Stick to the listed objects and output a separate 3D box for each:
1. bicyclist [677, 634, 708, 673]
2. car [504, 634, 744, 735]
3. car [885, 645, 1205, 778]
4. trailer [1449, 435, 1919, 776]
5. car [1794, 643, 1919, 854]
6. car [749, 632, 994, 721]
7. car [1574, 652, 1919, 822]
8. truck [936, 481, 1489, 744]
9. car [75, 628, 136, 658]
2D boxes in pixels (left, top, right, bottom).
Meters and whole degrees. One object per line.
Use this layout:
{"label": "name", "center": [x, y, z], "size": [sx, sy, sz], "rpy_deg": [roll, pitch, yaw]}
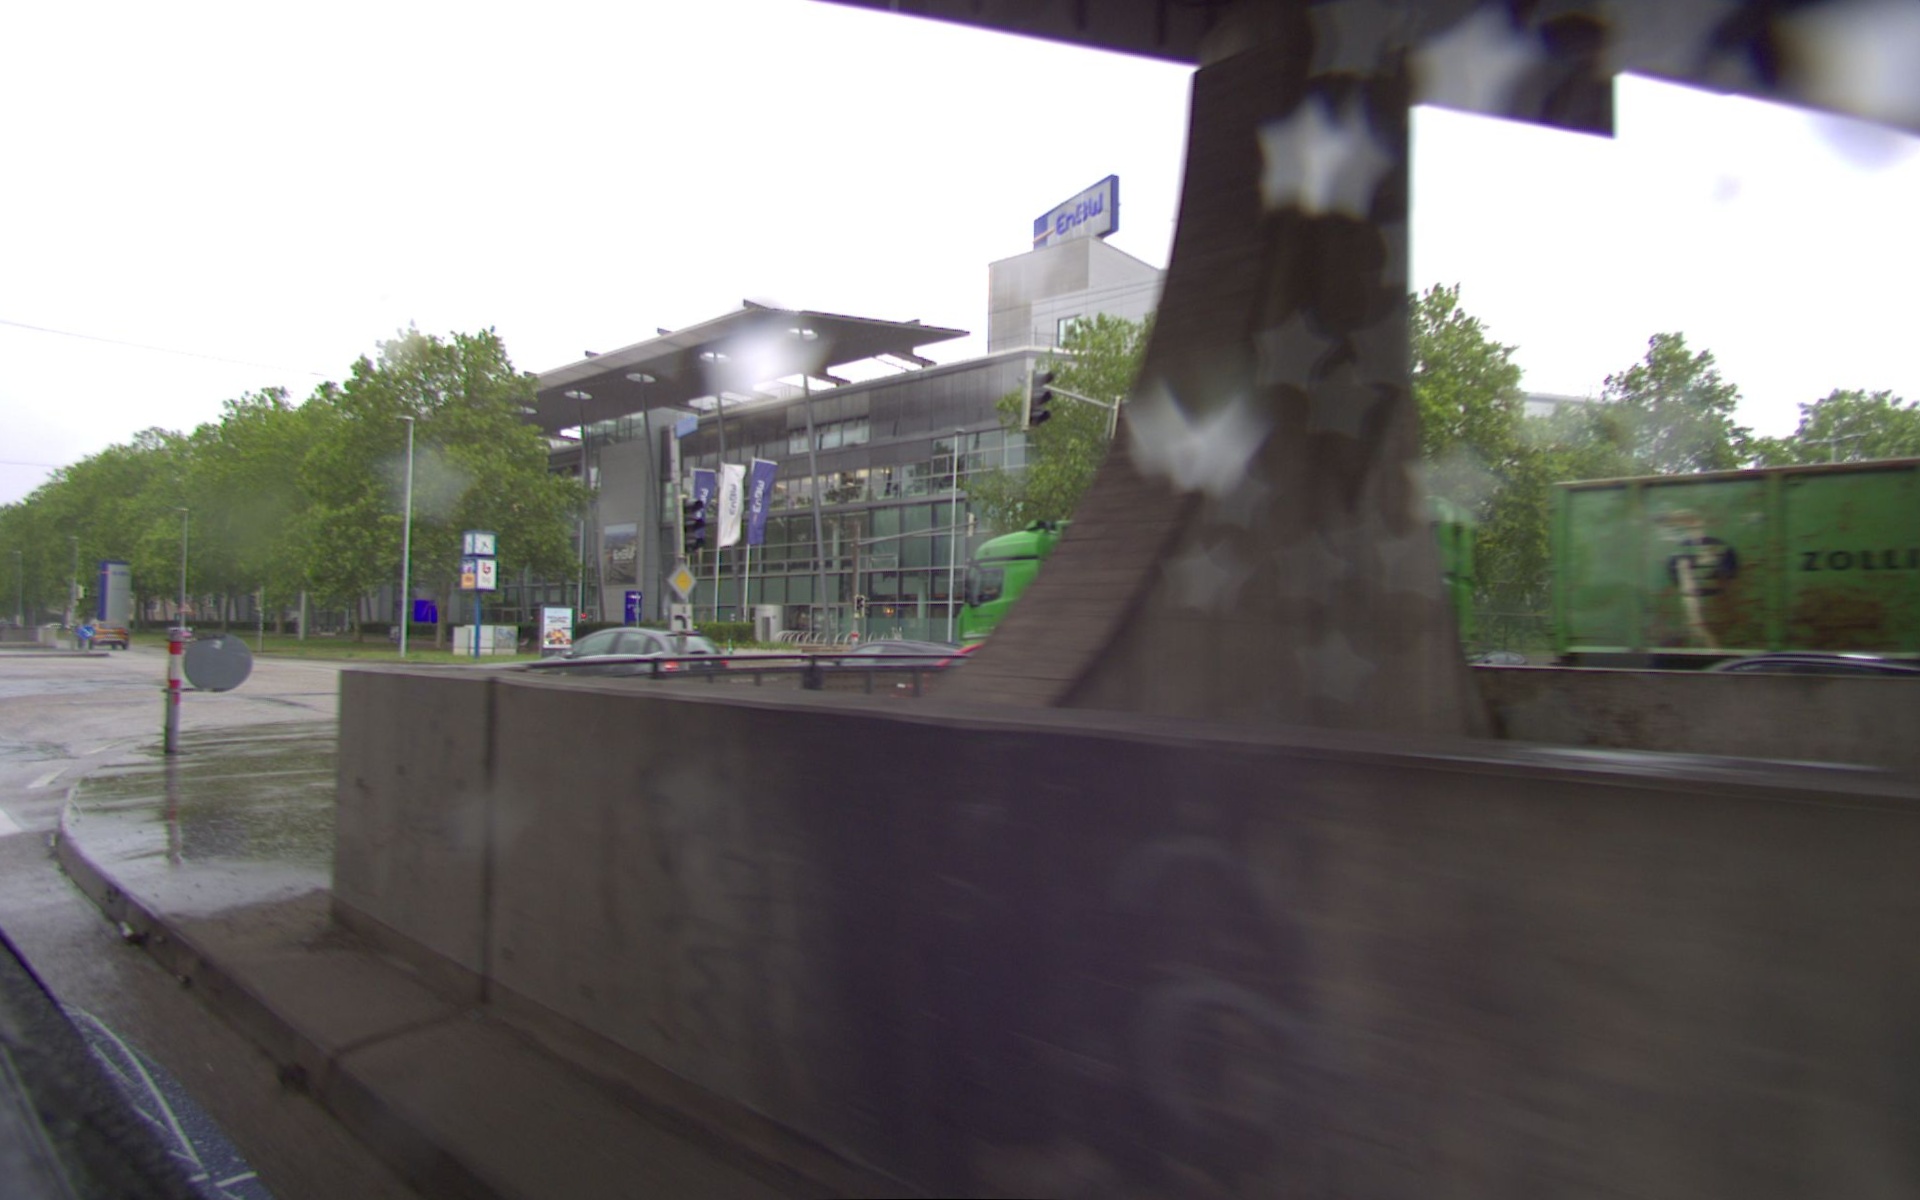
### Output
{"label": "bicyclist", "center": [-11.127, 2.230, 42.100], "size": [1.047, 1.606, 0.793], "rpy_deg": [-4, -5, 44]}
{"label": "car", "center": [-5.936, 1.417, 17.858], "size": [3.978, 1.558, 1.645], "rpy_deg": [0, -3, 26]}
{"label": "car", "center": [1.075, 1.387, 13.718], "size": [3.994, 1.463, 1.798], "rpy_deg": [-1, -3, 38]}
{"label": "trailer", "center": [11.474, 0.124, 13.506], "size": [8.515, 4.017, 2.653], "rpy_deg": [-1, -3, 41]}
{"label": "car", "center": [8.952, 1.168, 7.667], "size": [3.995, 1.586, 1.974], "rpy_deg": [-1, -3, 39]}
{"label": "car", "center": [-1.784, 1.417, 19.716], "size": [4.670, 1.497, 1.727], "rpy_deg": [0, -3, 33]}
{"label": "car", "center": [9.277, 1.425, 11.248], "size": [3.995, 1.586, 1.974], "rpy_deg": [-1, -3, 39]}
{"label": "truck", "center": [4.291, 0.300, 19.519], "size": [10.183, 3.979, 2.652], "rpy_deg": [-1, -3, 39]}
{"label": "car", "center": [-48.982, 2.448, 57.990], "size": [4.165, 1.644, 1.881], "rpy_deg": [-1, -3, 39]}
